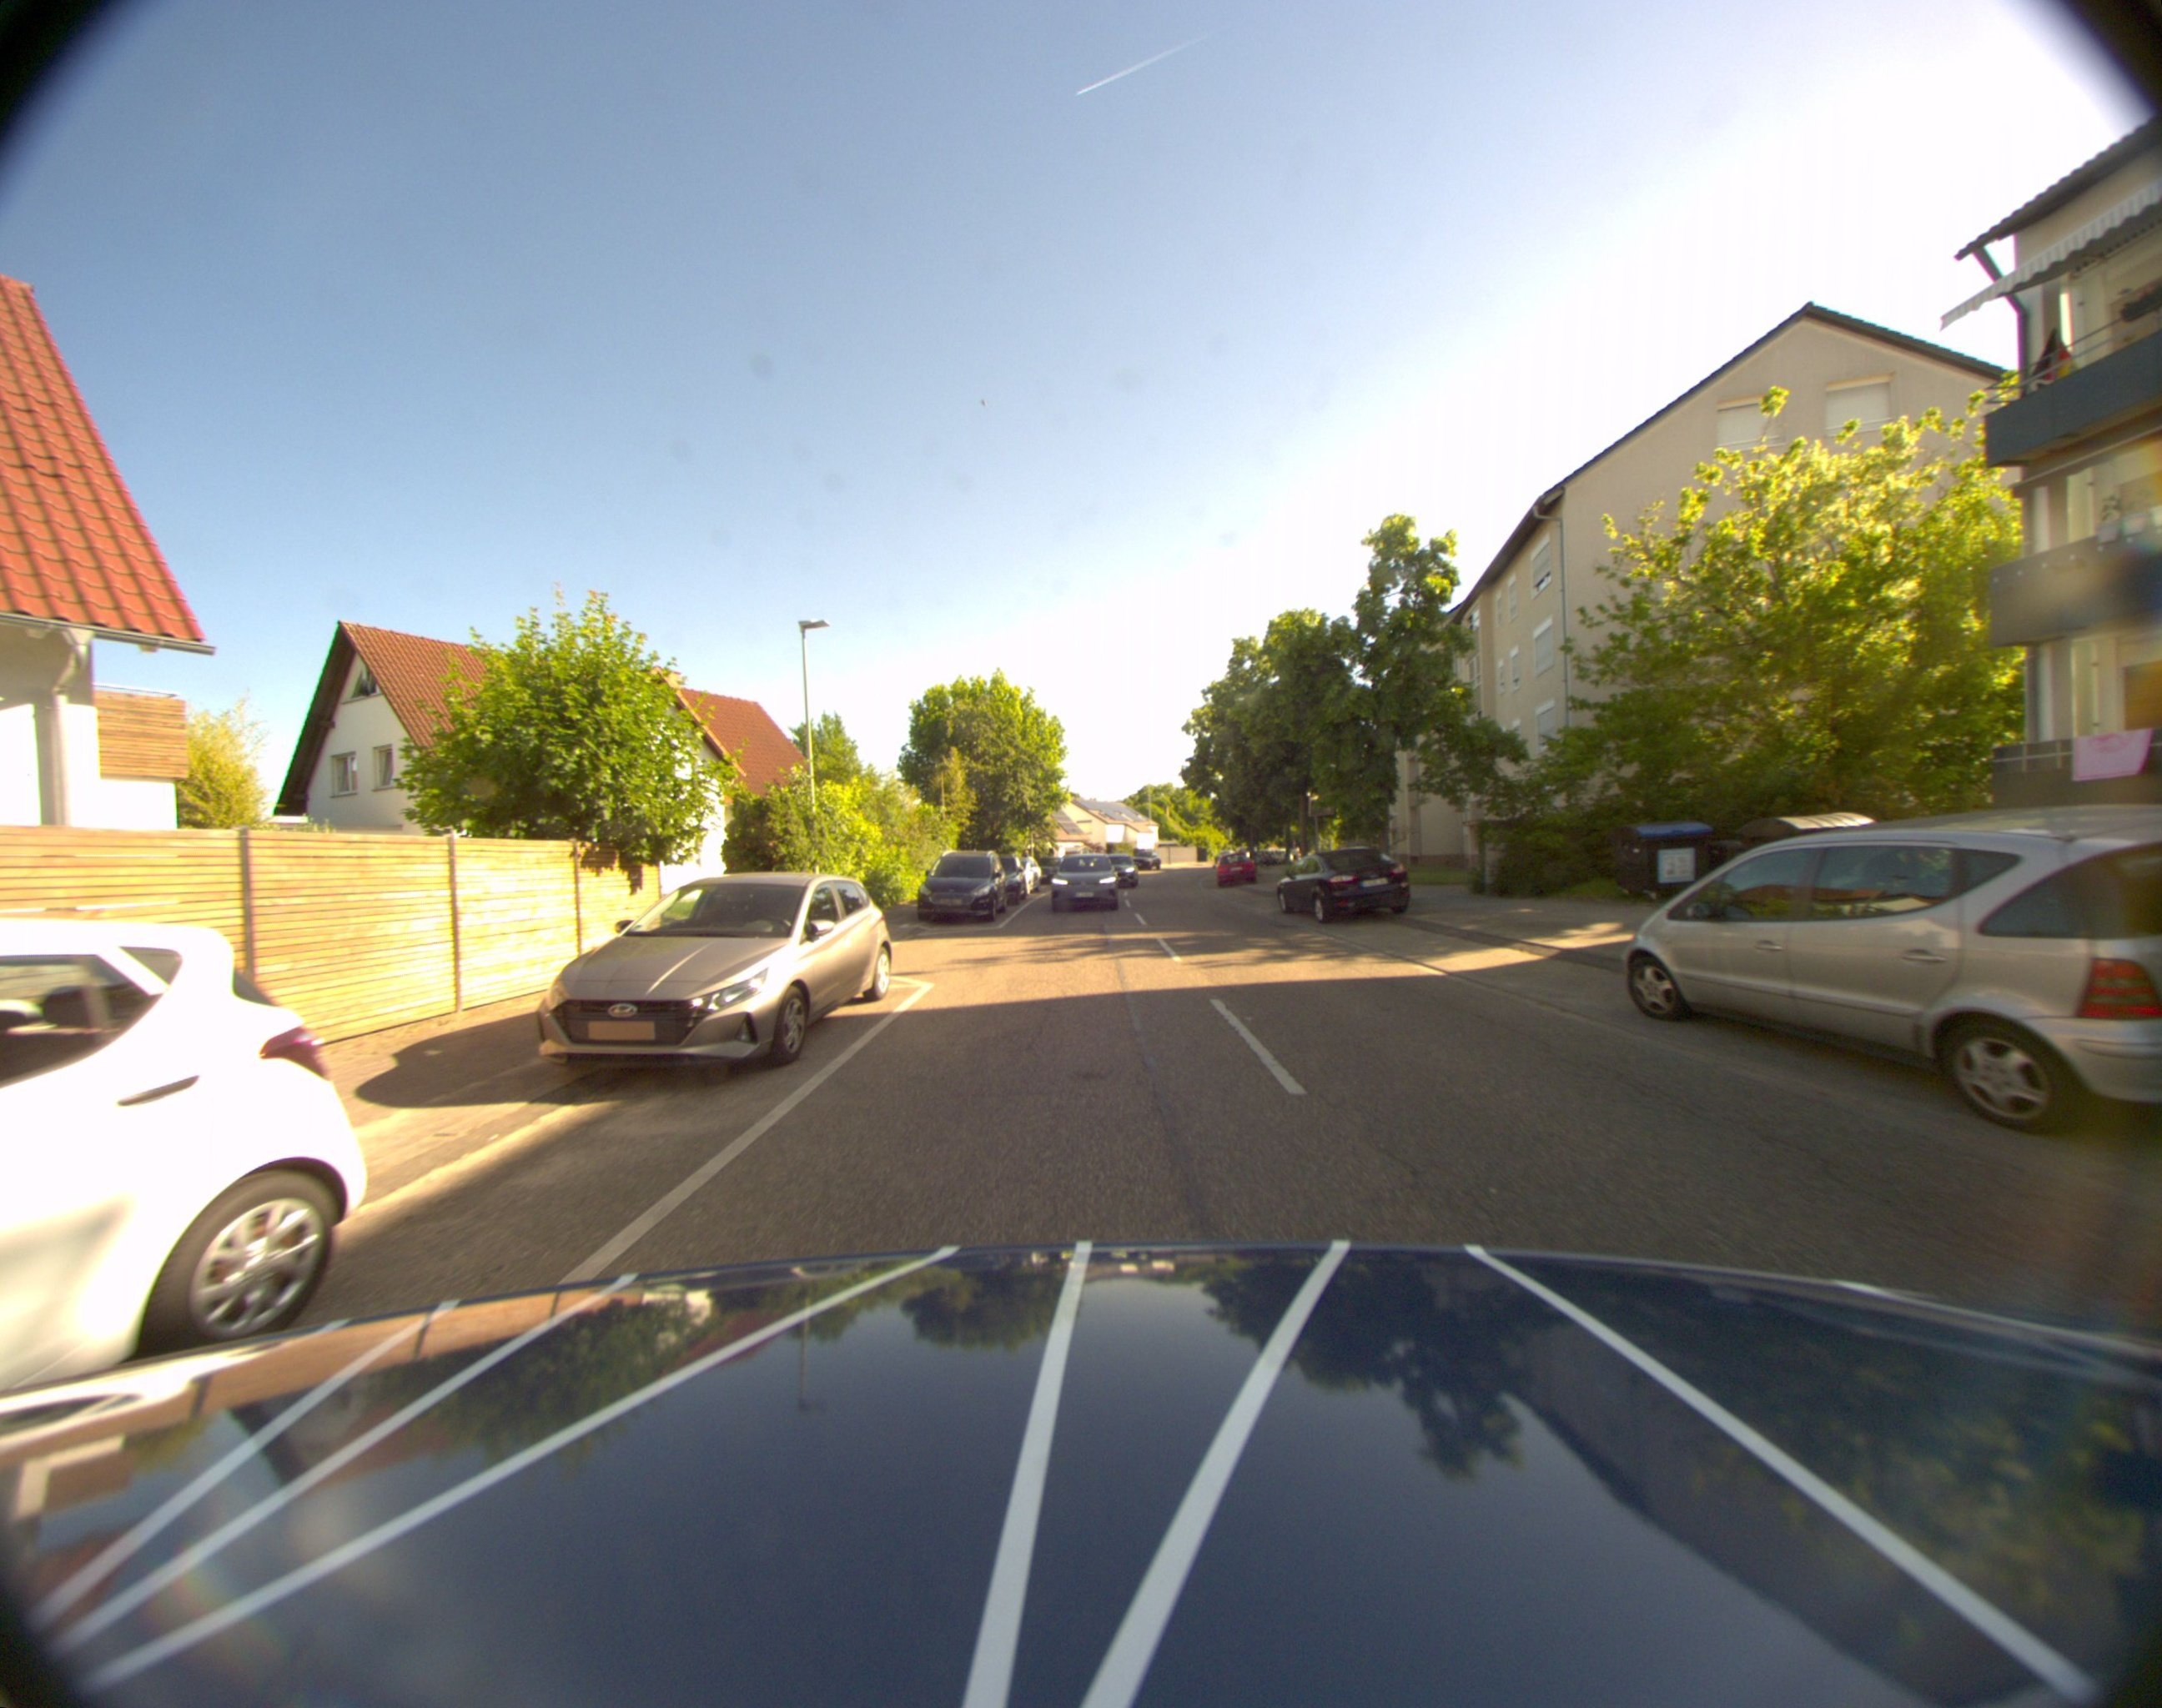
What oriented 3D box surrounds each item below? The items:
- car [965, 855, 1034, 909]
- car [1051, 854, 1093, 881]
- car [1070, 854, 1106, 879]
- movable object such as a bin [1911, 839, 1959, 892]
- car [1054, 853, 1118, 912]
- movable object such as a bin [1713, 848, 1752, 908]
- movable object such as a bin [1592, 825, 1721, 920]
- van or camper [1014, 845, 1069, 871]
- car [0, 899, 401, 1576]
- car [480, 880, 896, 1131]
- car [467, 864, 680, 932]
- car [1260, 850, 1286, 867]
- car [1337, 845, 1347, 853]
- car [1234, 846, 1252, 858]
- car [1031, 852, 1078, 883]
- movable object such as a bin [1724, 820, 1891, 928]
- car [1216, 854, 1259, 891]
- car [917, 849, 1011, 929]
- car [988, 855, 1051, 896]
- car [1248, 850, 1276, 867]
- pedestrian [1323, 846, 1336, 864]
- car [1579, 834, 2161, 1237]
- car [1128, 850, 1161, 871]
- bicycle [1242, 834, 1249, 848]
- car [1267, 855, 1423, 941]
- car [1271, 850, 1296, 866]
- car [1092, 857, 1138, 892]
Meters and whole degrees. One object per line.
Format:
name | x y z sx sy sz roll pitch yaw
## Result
car | -2.703 0.874 26.134 1.767 1.666 4.394 -1 0 2
car | -0.517 0.802 46.956 1.721 1.565 4.003 1 1 12
car | 0.518 0.815 51.670 1.635 1.565 3.708 1 1 14
movable object such as a bin | 15.146 0.203 13.482 0.415 0.915 0.372 -2 1 1
car | 0.213 0.822 23.385 1.777 1.624 3.705 -1 0 2
movable object such as a bin | 11.790 0.426 13.759 0.374 1.068 0.350 -2 1 1
movable object such as a bin | 10.666 0.328 14.157 1.416 1.653 1.267 -2 0 2
van or camper | -3.133 0.319 60.252 3.843 2.002 1.954 -1 0 28
car | -3.500 1.005 1.060 1.729 1.591 3.815 -2 0 -3
car | -3.050 1.062 6.924 1.646 1.485 3.889 -1 0 2
car | -13.473 1.091 20.157 5.082 1.530 2.525 -1 1 28
car | 18.337 0.395 72.439 1.649 1.530 3.710 -1 0 26
car | 48.232 -0.929 140.201 1.544 1.456 3.710 -1 0 22
car | 21.341 -0.285 99.996 1.637 1.568 3.710 -1 0 22
car | -1.388 0.700 41.171 1.656 1.554 4.468 -1 0 10
movable object such as a bin | 11.141 0.290 11.729 1.293 1.534 1.327 -2 0 2
car | 7.185 0.812 35.145 1.660 1.485 3.911 -5 -1 9
car | -2.887 0.803 19.717 1.747 1.802 4.429 -1 0 0
car | -2.543 0.865 32.515 1.766 1.554 4.664 -1 0 7
car | 16.326 0.395 68.334 1.649 1.530 3.710 -1 0 26
pedestrian | 22.873 0.078 69.906 0.959 1.619 0.734 -1 1 39
car | 5.546 0.767 5.171 1.726 1.583 3.909 -7 0 3
car | 5.492 0.530 65.838 1.774 1.727 3.710 1 1 22
bicycle | 12.387 -0.989 57.095 0.357 1.001 1.201 -3 -1 18
car | 5.725 0.855 17.143 1.726 1.485 4.543 -7 0 -1
car | 20.314 0.382 76.229 1.649 1.530 3.710 -1 0 26
car | 1.558 0.941 35.932 1.581 1.568 3.702 -1 0 -7
